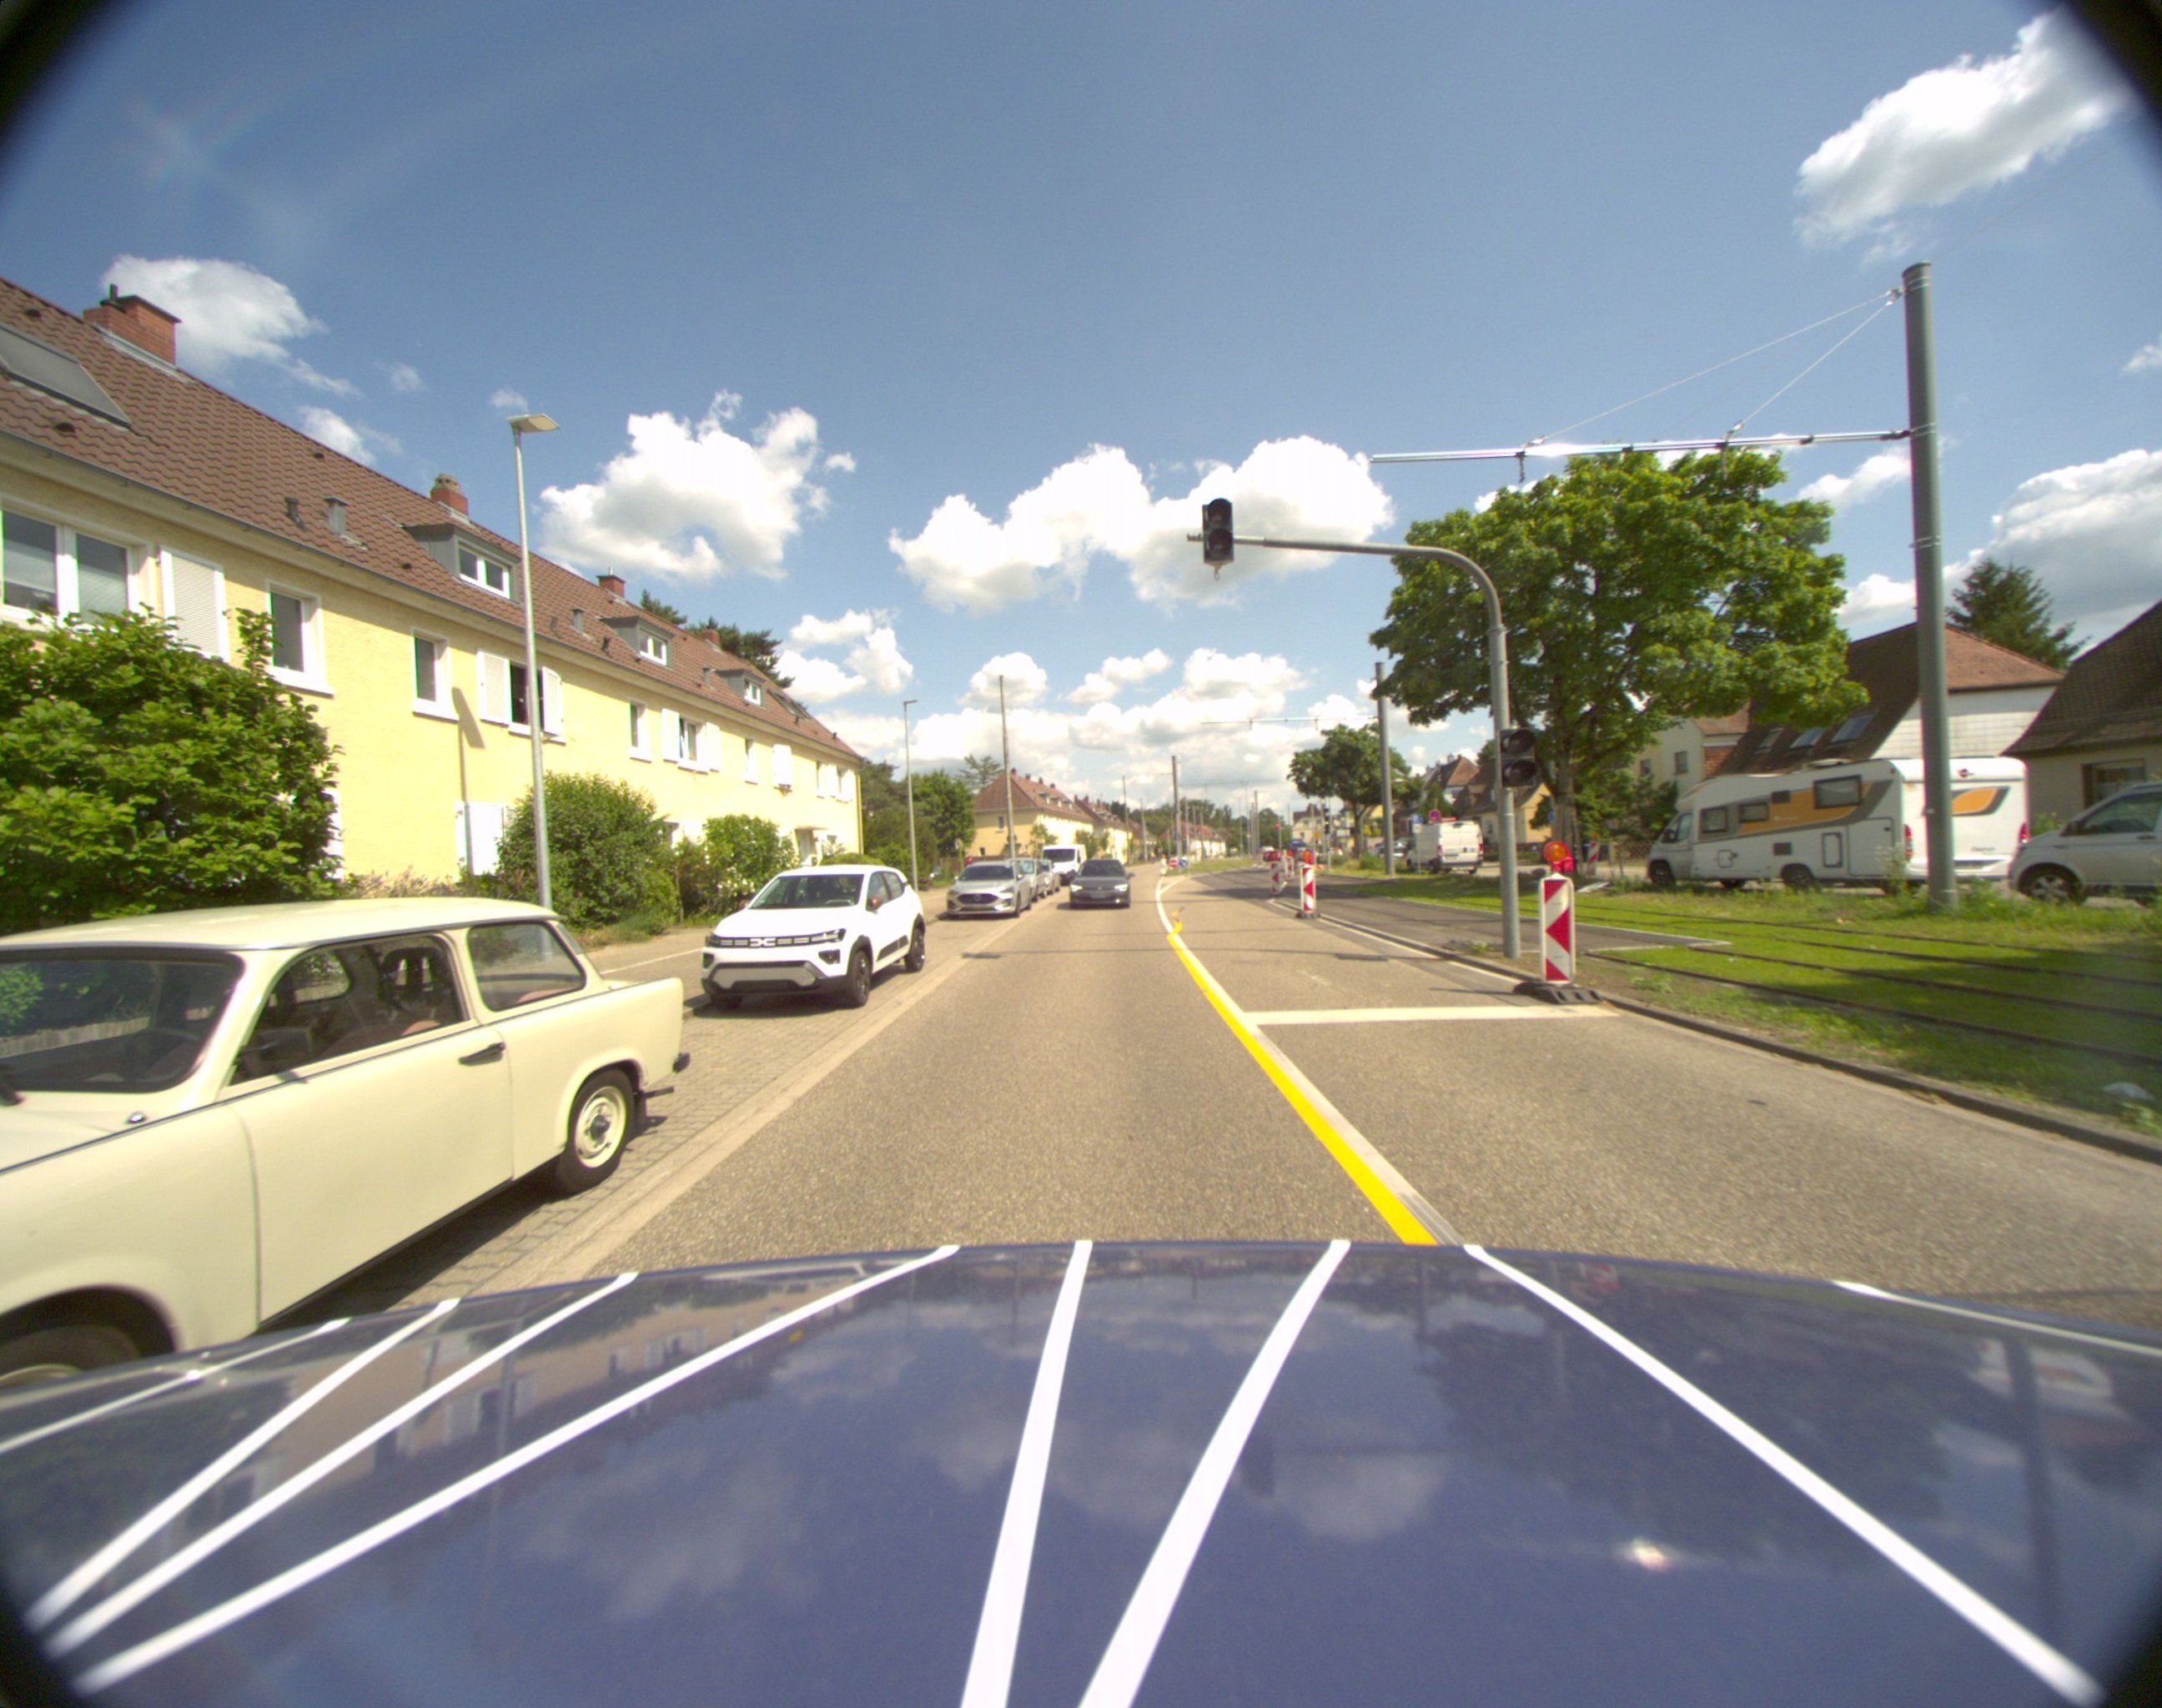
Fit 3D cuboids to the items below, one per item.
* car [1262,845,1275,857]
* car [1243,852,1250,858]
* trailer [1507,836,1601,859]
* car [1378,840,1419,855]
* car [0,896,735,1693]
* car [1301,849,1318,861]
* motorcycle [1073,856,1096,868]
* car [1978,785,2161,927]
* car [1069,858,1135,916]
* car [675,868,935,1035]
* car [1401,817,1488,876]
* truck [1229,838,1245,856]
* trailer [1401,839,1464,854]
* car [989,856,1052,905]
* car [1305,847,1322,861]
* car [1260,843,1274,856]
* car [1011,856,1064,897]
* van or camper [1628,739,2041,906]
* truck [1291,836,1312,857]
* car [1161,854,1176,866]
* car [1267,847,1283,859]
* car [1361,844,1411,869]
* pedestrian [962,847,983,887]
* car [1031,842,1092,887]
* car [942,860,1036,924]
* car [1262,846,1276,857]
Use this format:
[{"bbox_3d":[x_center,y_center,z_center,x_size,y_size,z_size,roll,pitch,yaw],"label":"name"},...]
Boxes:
[{"bbox_3d":[29.635,-0.439,119.978,1.728,1.843,4.545,-3,0,11],"label":"car"},{"bbox_3d":[53.582,0.340,245.599,2.058,1.996,4.954,-2,0,15],"label":"car"},{"bbox_3d":[33.676,-0.452,54.248,5.265,1.385,2.025,-3,0,10],"label":"trailer"},{"bbox_3d":[35.526,-0.721,85.069,3.885,1.546,1.683,-3,0,8],"label":"car"},{"bbox_3d":[-3.031,1.045,2.904,1.467,1.493,4.109,-2,0,0],"label":"car"},{"bbox_3d":[28.231,0.065,94.083,1.728,1.327,4.546,-3,0,14],"label":"car"},{"bbox_3d":[0.343,0.838,79.908,2.231,1.190,0.855,-3,0,12],"label":"motorcycle"},{"bbox_3d":[16.238,-0.017,10.480,1.998,2.002,4.904,-3,0,2],"label":"car"},{"bbox_3d":[0.694,0.905,22.875,1.742,1.513,4.702,-1,0,3],"label":"car"},{"bbox_3d":[-2.997,0.966,9.132,1.531,1.472,3.810,-2,0,3],"label":"car"},{"bbox_3d":[17.795,-0.351,37.481,2.158,2.653,4.917,-3,0,5],"label":"car"},{"bbox_3d":[47.262,-2.162,229.451,3.472,5.153,14.233,-3,0,16],"label":"truck"},{"bbox_3d":[32.661,-0.701,70.782,4.930,1.118,1.962,-3,0,8],"label":"trailer"},{"bbox_3d":[-2.086,0.898,27.199,1.632,1.541,3.810,-2,0,4],"label":"car"},{"bbox_3d":[26.688,-0.031,87.206,1.727,1.518,4.776,-3,0,17],"label":"car"},{"bbox_3d":[31.350,-0.762,128.148,1.921,1.953,4.545,-3,0,11],"label":"car"},{"bbox_3d":[-1.755,0.892,31.869,1.711,1.495,4.256,-2,0,3],"label":"car"},{"bbox_3d":[16.366,-0.577,17.506,2.381,2.953,7.297,-2,0,2],"label":"van or camper"},{"bbox_3d":[35.385,-1.182,121.995,2.840,3.135,7.941,-3,0,14],"label":"truck"},{"bbox_3d":[12.846,0.817,111.145,1.878,1.543,4.989,-3,0,10],"label":"car"},{"bbox_3d":[25.269,-0.146,99.167,1.728,1.553,4.545,-3,0,12],"label":"car"},{"bbox_3d":[19.335,0.132,48.341,1.696,1.456,4.757,-3,0,7],"label":"car"},{"bbox_3d":[-5.464,0.646,38.330,0.774,2.002,0.762,-3,0,5],"label":"pedestrian"},{"bbox_3d":[-0.954,0.531,41.036,2.281,2.170,6.371,-2,0,7],"label":"car"},{"bbox_3d":[-2.361,0.942,20.568,1.754,1.489,4.386,-2,0,3],"label":"car"},{"bbox_3d":[28.089,-0.423,113.350,1.728,1.553,4.545,-3,0,11],"label":"car"}]
